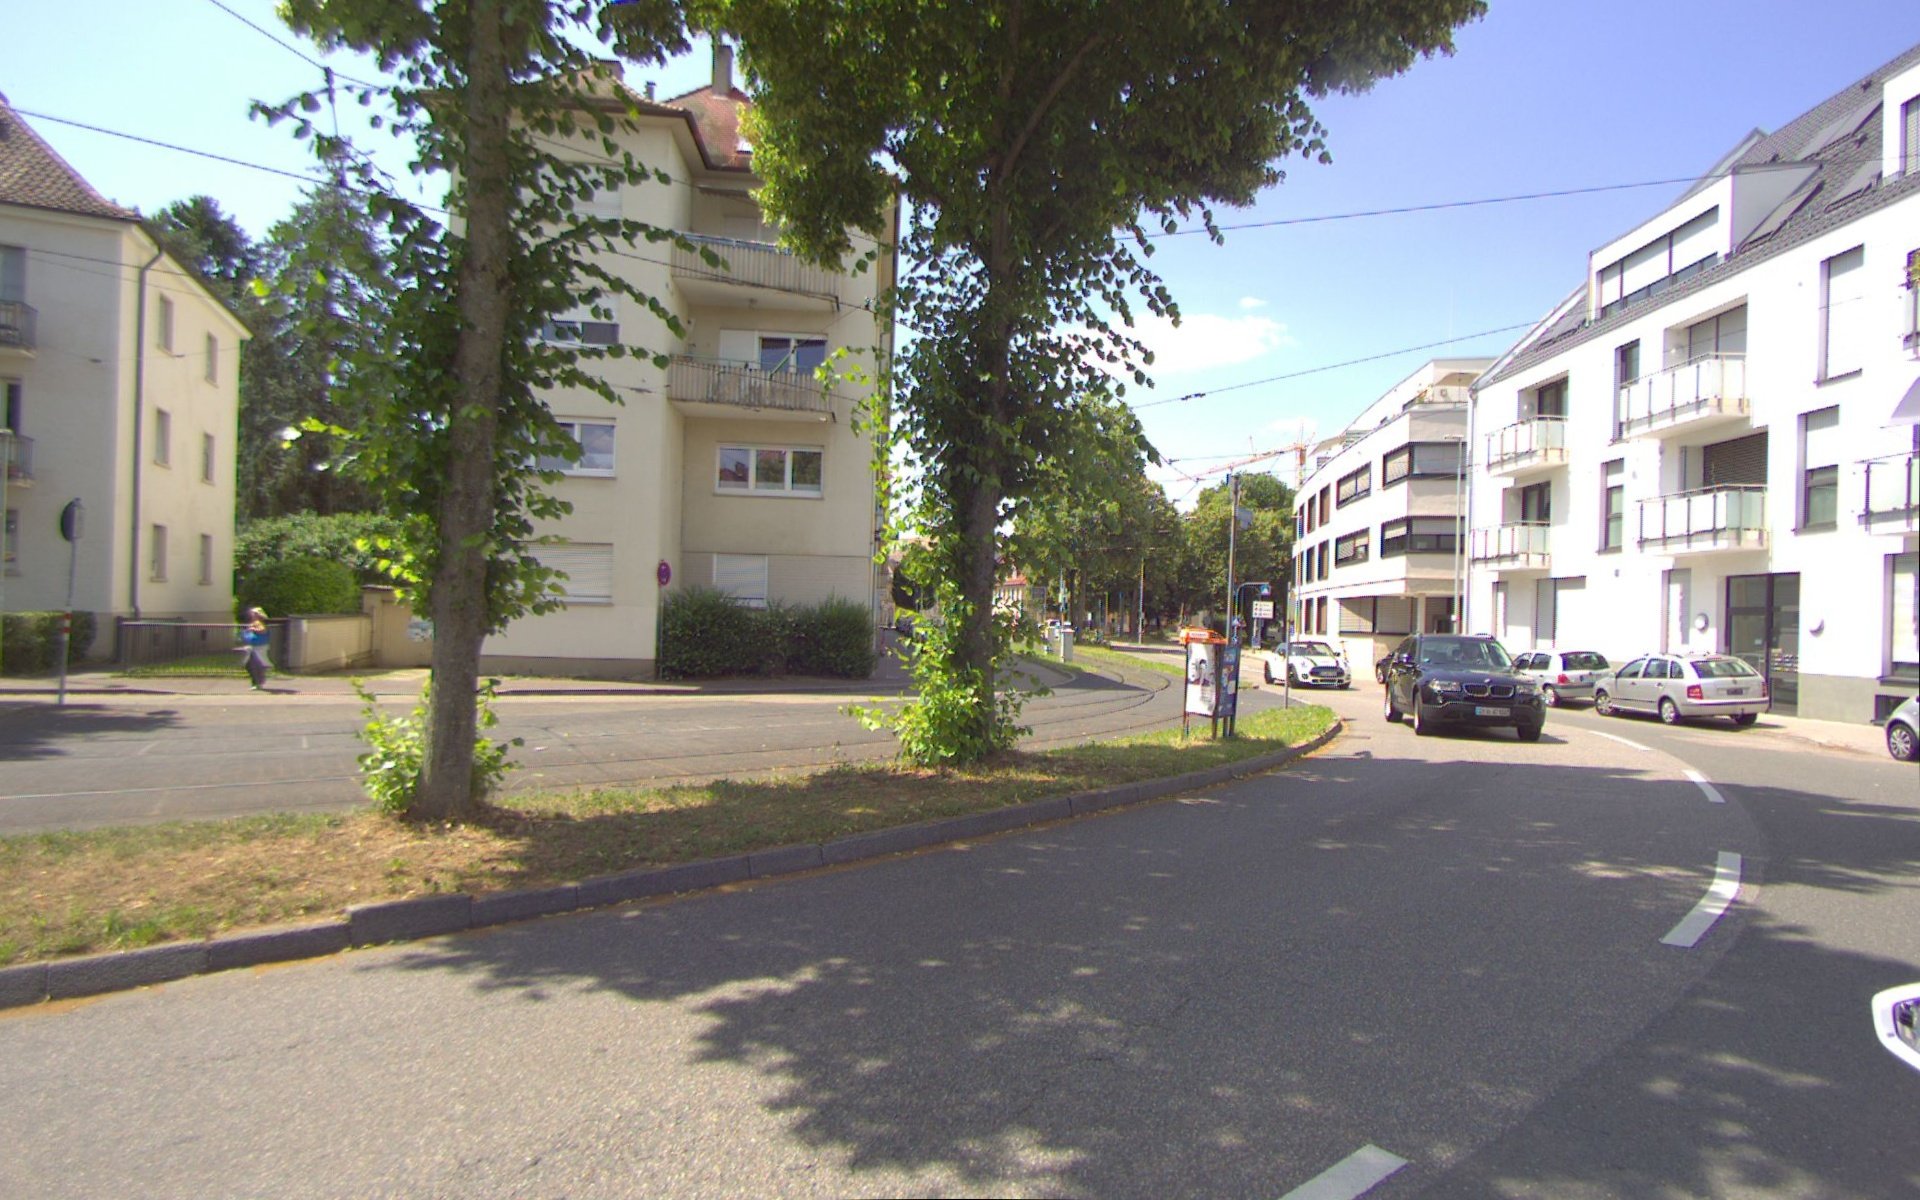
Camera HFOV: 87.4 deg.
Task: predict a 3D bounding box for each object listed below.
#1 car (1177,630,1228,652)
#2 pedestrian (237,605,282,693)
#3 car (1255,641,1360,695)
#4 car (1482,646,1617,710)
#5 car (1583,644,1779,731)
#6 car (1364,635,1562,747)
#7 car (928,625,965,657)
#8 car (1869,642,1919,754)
[{"bbox_3d":[21.314,3.611,88.524,3.988,1.547,1.651,4,0,-2],"label":"car"},{"bbox_3d":[-13.874,0.970,19.911,0.600,1.674,0.571,3,1,-29],"label":"pedestrian"},{"bbox_3d":[10.571,2.039,30.859,1.752,1.260,4.000,4,0,0],"label":"car"},{"bbox_3d":[15.361,1.983,26.363,1.395,1.376,3.503,-2,0,-1],"label":"car"},{"bbox_3d":[15.313,1.797,21.613,1.628,1.485,3.910,-2,0,5],"label":"car"},{"bbox_3d":[8.233,1.414,16.905,1.856,1.572,4.400,1,-2,11],"label":"car"},{"bbox_3d":[-0.682,1.974,49.603,1.556,1.305,3.851,4,0,-4],"label":"car"},{"bbox_3d":[14.843,1.507,13.867,1.552,1.607,3.620,4,0,8],"label":"car"}]
